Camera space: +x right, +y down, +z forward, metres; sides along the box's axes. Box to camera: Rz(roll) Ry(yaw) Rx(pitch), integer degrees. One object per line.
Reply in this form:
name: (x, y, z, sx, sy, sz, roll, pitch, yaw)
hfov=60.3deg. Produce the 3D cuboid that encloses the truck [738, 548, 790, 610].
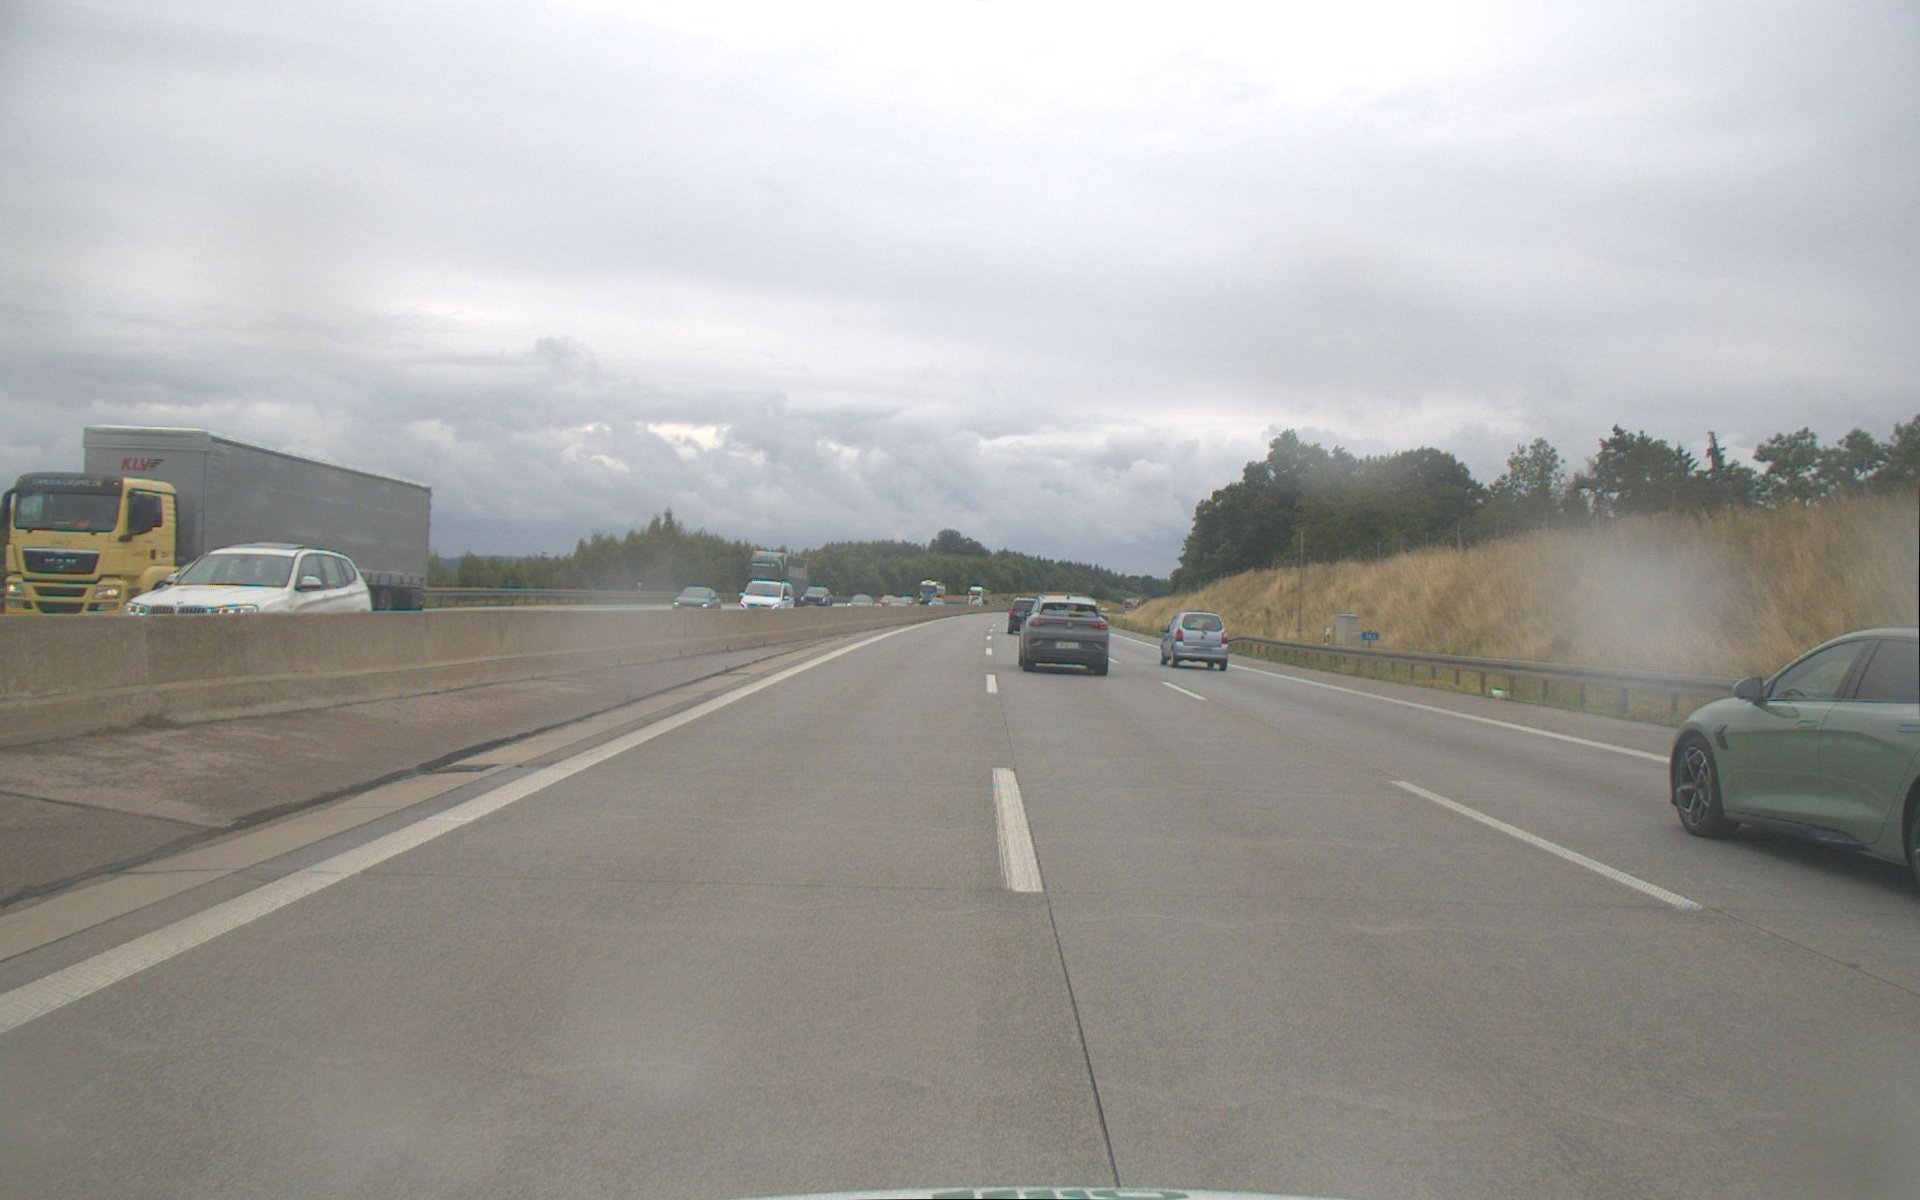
truck: (-14.787, -1.603, 125.123, 2.732, 4.336, 6.051, 4, 1, 2)

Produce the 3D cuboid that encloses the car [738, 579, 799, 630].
car: (-8.344, 0.155, 72.404, 1.875, 2.048, 5.925, 1, 1, 1)

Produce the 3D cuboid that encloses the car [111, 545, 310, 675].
car: (-12.724, 0.123, 28.330, 1.612, 2.048, 4.000, 1, 1, -1)

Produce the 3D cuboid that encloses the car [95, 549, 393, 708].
car: (-9.486, 0.325, 22.384, 1.992, 1.900, 4.604, 1, 0, 0)

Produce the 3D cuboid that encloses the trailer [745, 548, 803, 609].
trailer: (-14.605, -1.734, 130.833, 2.708, 4.355, 12.171, 4, 1, 1)

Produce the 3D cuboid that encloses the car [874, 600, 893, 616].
car: (-8.257, 0.875, 179.644, 1.682, 1.534, 4.487, 2, -1, 2)

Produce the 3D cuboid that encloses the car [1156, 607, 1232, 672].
car: (6.154, 1.007, 43.796, 1.455, 1.496, 3.505, 3, 1, 0)

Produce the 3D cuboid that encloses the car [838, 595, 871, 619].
car: (-7.313, 0.496, 114.858, 1.953, 1.545, 4.397, 1, 1, 0)

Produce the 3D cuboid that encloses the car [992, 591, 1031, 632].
car: (2.412, 0.530, 77.423, 1.748, 1.777, 3.917, 1, 1, 2)

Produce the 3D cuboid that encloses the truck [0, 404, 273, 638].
truck: (-16.464, -1.508, 33.224, 2.872, 4.253, 5.857, 1, 1, 0)

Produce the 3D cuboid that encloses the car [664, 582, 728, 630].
car: (-12.070, 0.247, 76.001, 1.875, 2.048, 5.925, 1, 1, 1)

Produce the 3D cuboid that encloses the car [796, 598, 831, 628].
car: (-10.614, 0.929, 120.177, 1.952, 2.008, 5.332, 1, 1, 1)

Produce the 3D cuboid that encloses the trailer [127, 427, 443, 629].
trailer: (-16.412, -1.666, 41.569, 2.858, 4.291, 11.875, 1, 1, 1)

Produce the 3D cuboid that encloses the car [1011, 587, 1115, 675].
car: (2.179, 0.613, 36.440, 1.859, 1.719, 5.265, 1, 1, -1)

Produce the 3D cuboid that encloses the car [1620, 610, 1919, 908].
car: (6.069, 0.873, 10.349, 1.973, 1.471, 4.745, 1, 1, 0)
